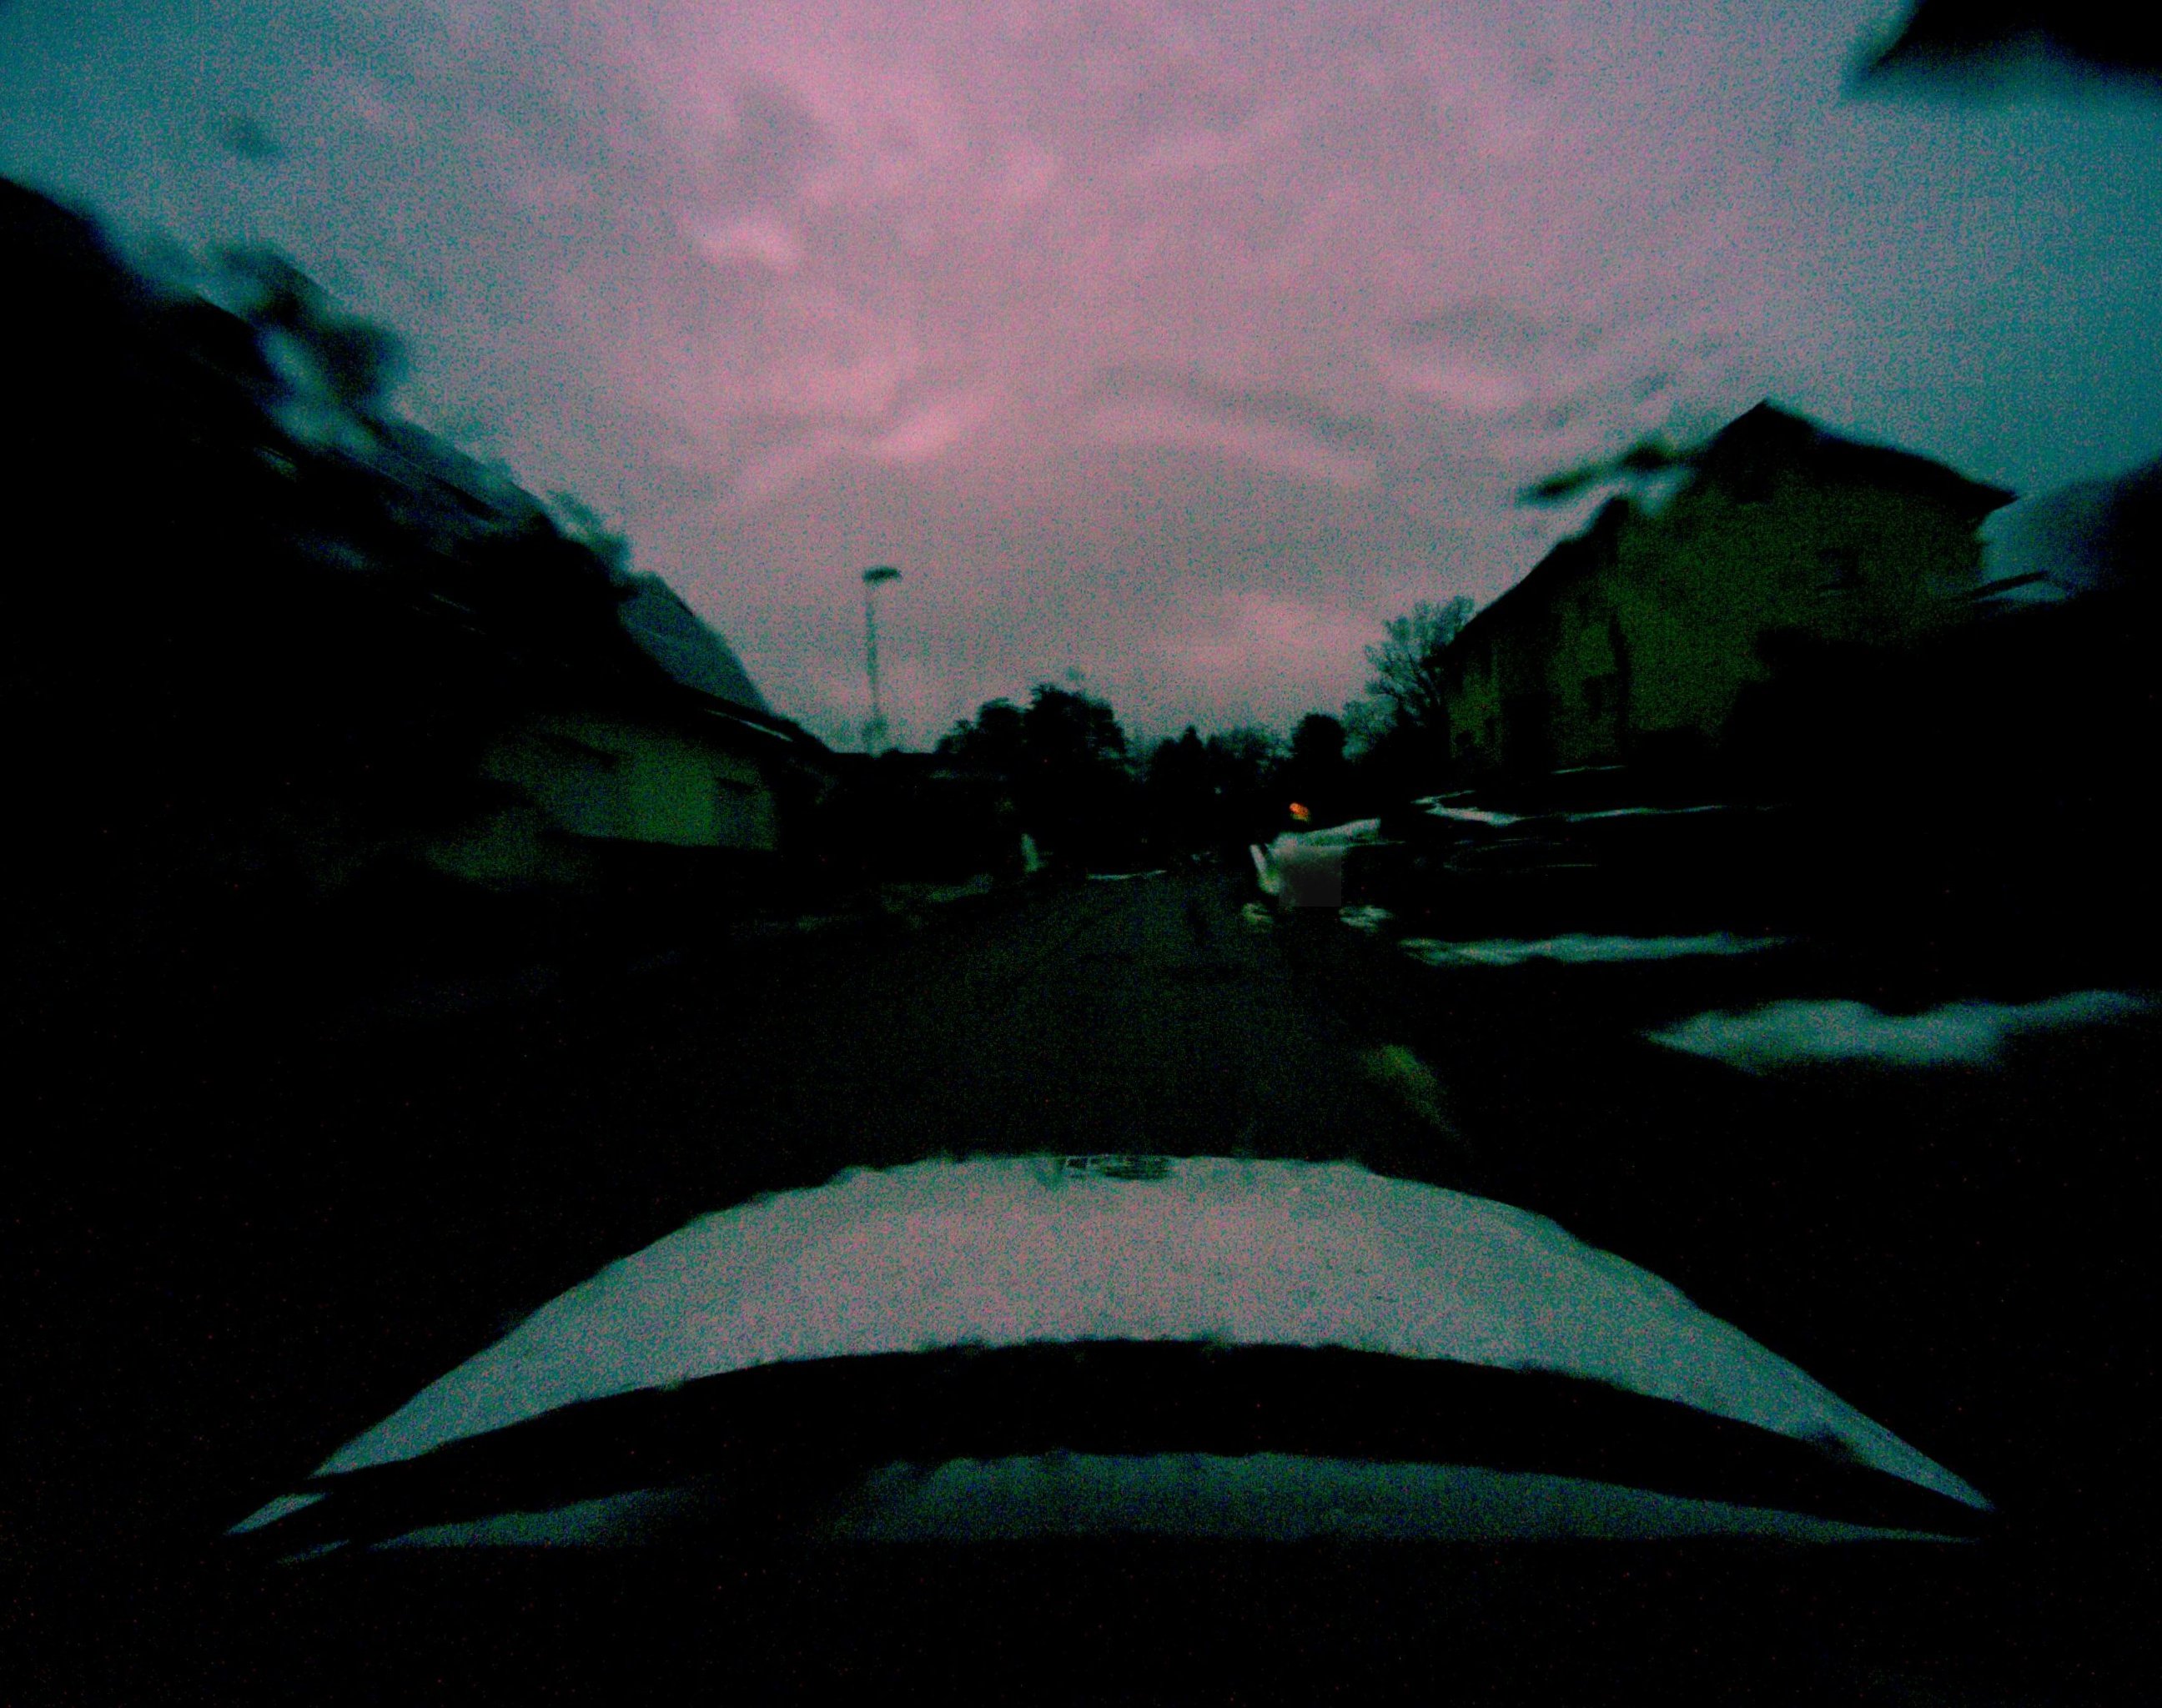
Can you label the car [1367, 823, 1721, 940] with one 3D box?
[{"bbox_3d":[7.199,0.415,13.096,4.484,1.443,2.002,-4,0,4],"label":"car"}]
